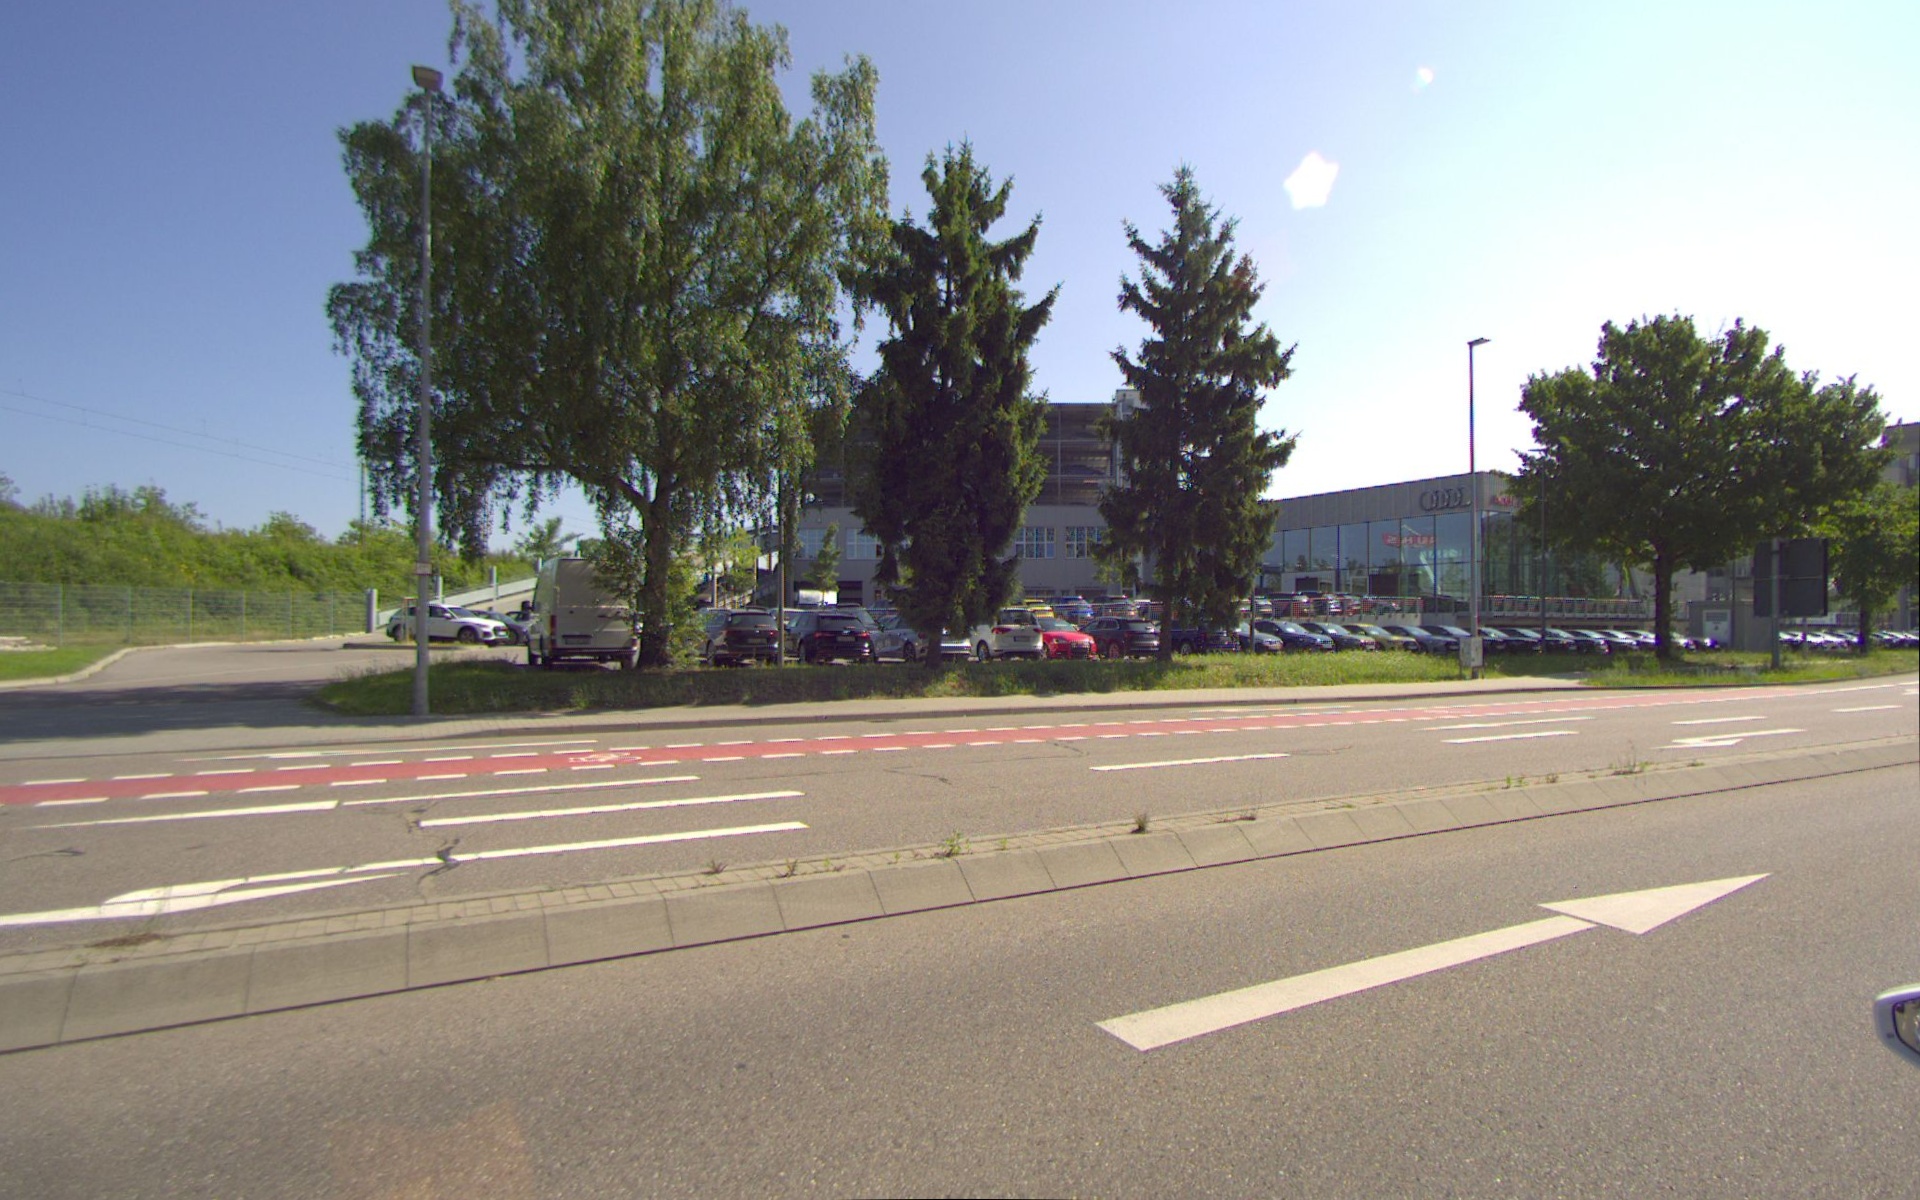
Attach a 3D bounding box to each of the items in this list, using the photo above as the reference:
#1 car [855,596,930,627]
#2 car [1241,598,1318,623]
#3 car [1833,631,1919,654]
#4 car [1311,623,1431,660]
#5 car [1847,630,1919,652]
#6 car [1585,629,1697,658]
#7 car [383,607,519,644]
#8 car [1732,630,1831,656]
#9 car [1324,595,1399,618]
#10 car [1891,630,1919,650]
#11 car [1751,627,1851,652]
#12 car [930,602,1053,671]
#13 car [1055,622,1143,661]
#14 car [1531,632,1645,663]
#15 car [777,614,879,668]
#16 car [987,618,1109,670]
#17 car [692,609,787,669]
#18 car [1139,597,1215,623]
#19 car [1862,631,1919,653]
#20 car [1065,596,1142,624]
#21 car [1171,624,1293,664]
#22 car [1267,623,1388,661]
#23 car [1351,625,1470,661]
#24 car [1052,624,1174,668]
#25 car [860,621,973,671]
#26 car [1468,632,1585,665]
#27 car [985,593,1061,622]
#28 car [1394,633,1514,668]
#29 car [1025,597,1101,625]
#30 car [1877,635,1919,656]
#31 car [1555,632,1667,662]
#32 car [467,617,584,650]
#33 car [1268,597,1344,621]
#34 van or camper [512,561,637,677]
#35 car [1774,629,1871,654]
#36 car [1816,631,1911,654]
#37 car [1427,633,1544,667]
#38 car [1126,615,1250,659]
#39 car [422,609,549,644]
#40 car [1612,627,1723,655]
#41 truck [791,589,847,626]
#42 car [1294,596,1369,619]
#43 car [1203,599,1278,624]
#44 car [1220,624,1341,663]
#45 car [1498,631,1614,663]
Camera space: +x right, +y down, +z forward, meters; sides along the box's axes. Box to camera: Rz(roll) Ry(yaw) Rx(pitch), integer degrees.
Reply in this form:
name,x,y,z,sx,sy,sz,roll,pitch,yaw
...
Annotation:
name,x,y,z,sx,sy,sz,roll,pitch,yaw
car,-3.196,0.569,46.596,1.929,1.368,4.250,1,-2,-28
car,18.928,0.651,59.646,1.929,1.368,4.250,1,-2,-28
car,57.981,2.639,63.365,1.900,1.394,3.971,1,-2,-28
car,16.297,1.612,40.060,1.928,1.368,4.252,1,-2,-26
car,59.852,2.626,64.495,1.900,1.394,3.971,1,-2,-28
car,33.763,2.118,49.922,1.928,1.368,4.252,1,-2,-26
car,-20.447,1.020,40.450,4.458,1.461,2.001,0,-1,4
car,46.775,2.442,57.274,1.842,1.394,3.971,1,-2,-28
car,25.556,0.432,64.119,1.929,1.368,4.250,1,-2,-28
car,66.083,2.709,68.097,1.900,1.394,3.971,1,-2,-28
car,48.980,2.255,58.583,2.000,1.394,4.025,1,-2,-28
car,0.856,1.054,30.008,1.928,1.909,4.252,1,-1,-26
car,6.277,1.859,45.811,1.928,1.664,4.252,1,-1,-26
car,29.735,2.213,47.702,1.928,1.368,4.252,1,-2,-26
car,-3.685,1.097,27.473,1.719,1.372,4.078,2,-2,-23
car,2.699,1.355,31.746,1.928,1.524,4.252,1,-2,-26
car,-5.892,0.999,26.513,1.719,1.457,4.078,1,-1,-23
car,12.021,0.571,55.912,1.929,1.368,4.250,1,-2,-28
car,61.856,2.721,65.605,1.900,1.394,3.971,1,-2,-28
car,7.501,0.550,53.044,1.929,1.368,4.250,1,-2,-28
car,9.702,1.539,36.177,1.928,1.368,4.252,1,-2,-26
car,14.045,1.581,38.627,1.928,1.368,4.252,1,-2,-26
car,18.441,1.736,41.341,1.928,1.368,4.252,1,-2,-26
car,5.005,1.494,33.455,1.928,1.346,4.252,1,-2,-26
car,-1.316,1.251,28.584,1.721,1.310,4.073,1,-2,-26
car,25.373,2.136,45.158,1.928,1.368,4.252,1,-2,-26
car,3.147,0.413,50.765,1.929,1.368,4.250,1,-2,-28
car,20.754,2.088,42.387,1.928,1.368,4.252,1,-2,-26
car,5.278,0.581,51.970,1.929,1.368,4.250,1,-2,-28
car,63.941,3.021,66.805,1.900,1.394,3.971,1,-2,-28
car,31.698,2.255,49.044,1.928,1.368,4.252,1,-2,-26
car,-19.731,1.514,45.765,4.458,1.461,2.001,0,-1,4
car,20.976,0.563,61.078,1.929,1.368,4.250,1,-2,-28
van or camper,-9.501,0.351,24.456,1.977,2.504,5.351,-1,1,-31
car,51.266,2.437,59.751,1.900,1.394,3.971,1,-2,-28
car,55.911,2.608,62.208,1.900,1.394,3.971,1,-2,-28
car,22.845,2.127,43.842,1.928,1.368,4.252,1,-2,-26
car,7.722,1.235,34.422,1.928,1.399,4.252,1,-2,-26
car,-20.171,1.119,42.797,4.458,1.461,2.001,0,-1,4
car,36.072,2.070,51.318,1.928,1.368,4.252,1,-2,-26
truck,-11.857,0.701,85.262,2.612,2.955,8.469,0,-2,7
car,23.143,0.499,62.717,1.929,1.368,4.250,1,-2,-28
car,16.429,0.693,59.054,1.929,1.368,4.250,1,-2,-28
car,11.883,1.589,37.489,1.928,1.368,4.252,1,-2,-26
car,27.530,2.152,46.535,1.928,1.368,4.252,1,-2,-26
